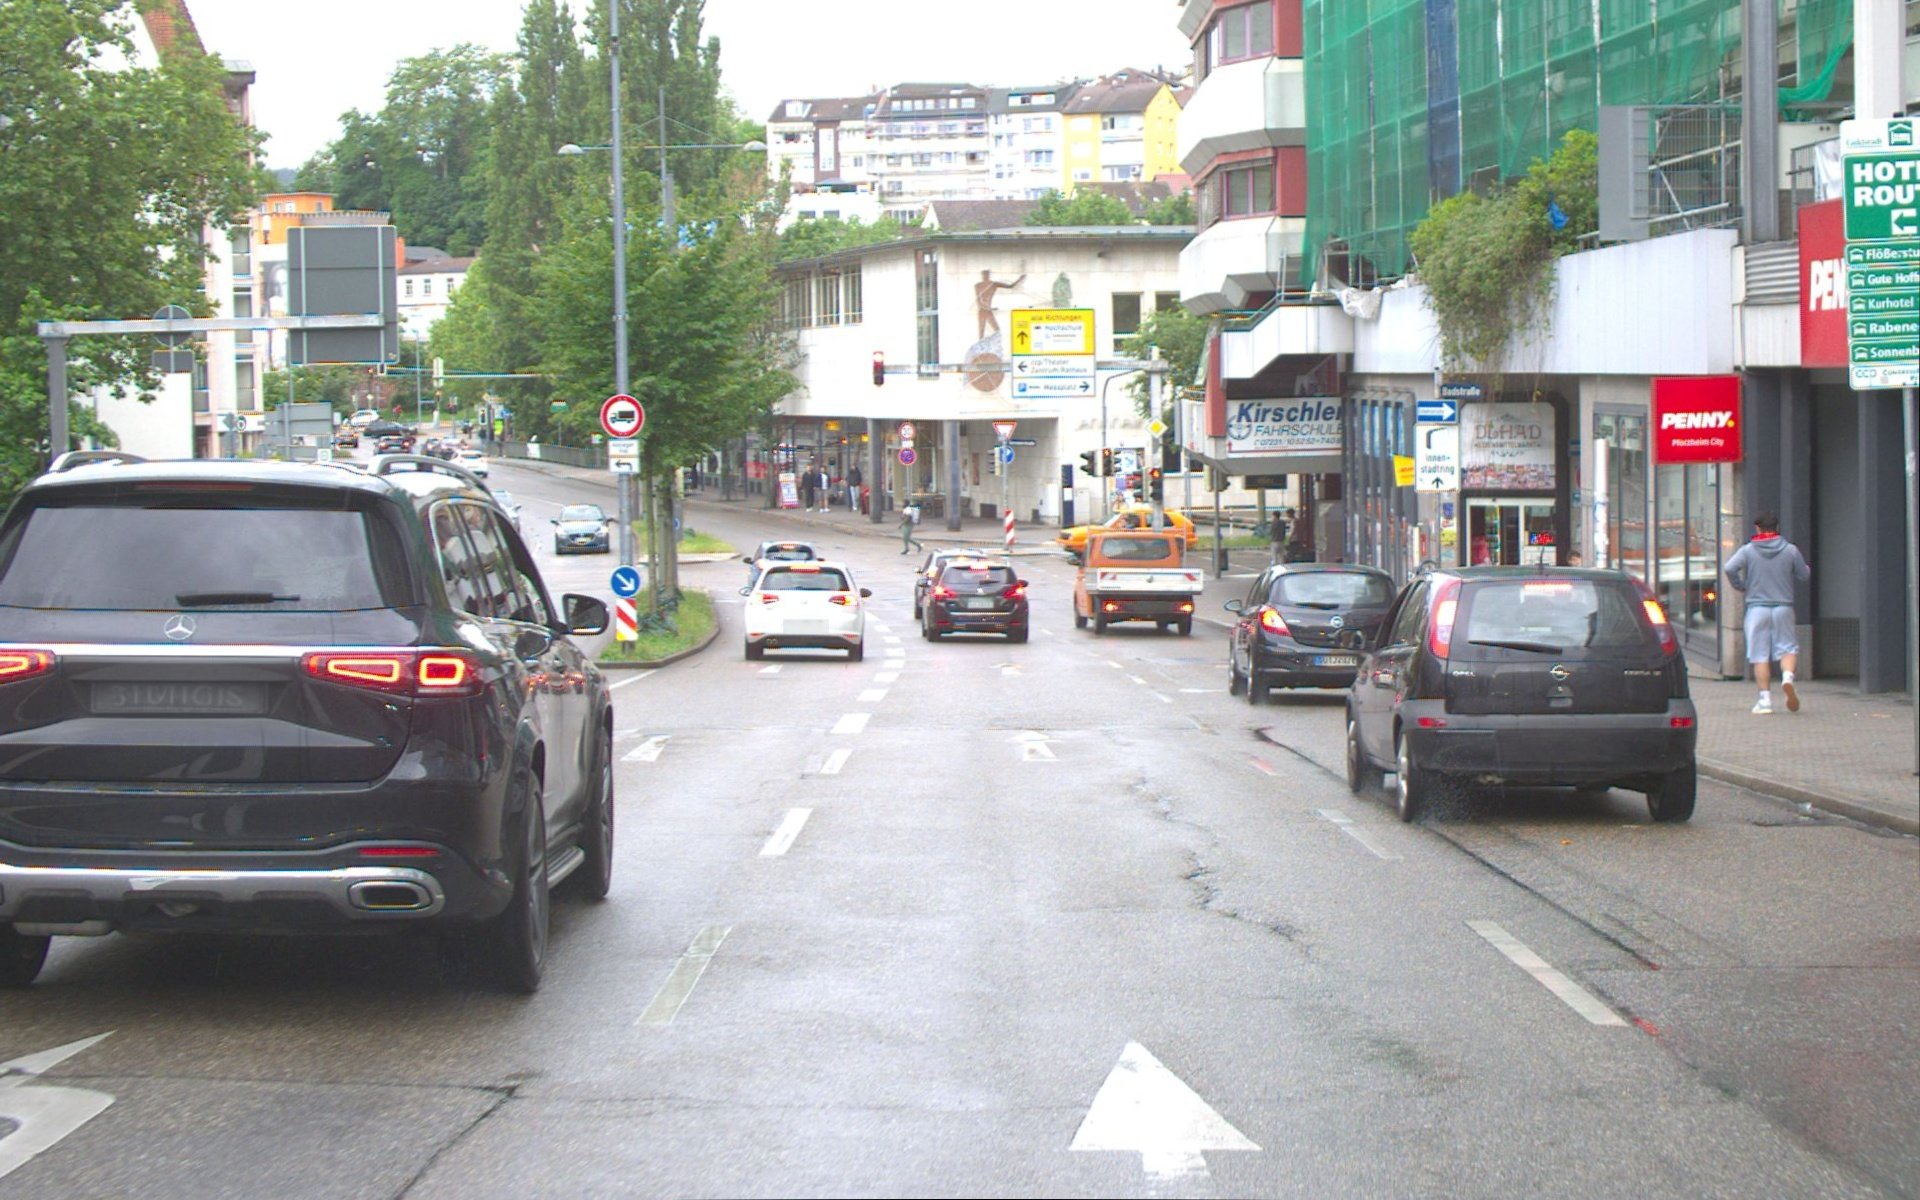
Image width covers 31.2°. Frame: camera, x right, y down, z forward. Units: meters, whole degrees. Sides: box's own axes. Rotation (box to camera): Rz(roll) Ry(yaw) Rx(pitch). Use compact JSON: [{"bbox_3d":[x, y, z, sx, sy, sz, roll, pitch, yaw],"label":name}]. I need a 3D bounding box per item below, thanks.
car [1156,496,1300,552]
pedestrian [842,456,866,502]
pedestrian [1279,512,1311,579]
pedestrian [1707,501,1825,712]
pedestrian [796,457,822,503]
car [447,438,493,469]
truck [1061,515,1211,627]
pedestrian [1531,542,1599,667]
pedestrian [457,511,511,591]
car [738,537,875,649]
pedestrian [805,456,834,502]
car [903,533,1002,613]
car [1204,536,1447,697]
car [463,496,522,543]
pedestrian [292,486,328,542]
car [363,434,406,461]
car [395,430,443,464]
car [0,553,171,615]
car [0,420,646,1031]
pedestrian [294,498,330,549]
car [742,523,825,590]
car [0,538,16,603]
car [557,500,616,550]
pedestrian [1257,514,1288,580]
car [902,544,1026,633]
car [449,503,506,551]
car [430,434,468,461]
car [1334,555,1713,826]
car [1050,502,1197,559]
[{"bbox_3d":[7.875,-2.219,101.026,3.815,1.611,1.775,-1,1,-17],"label":"car"},{"bbox_3d":[-4.209,-4.820,136.780,0.702,1.796,0.939,-2,1,-16],"label":"pedestrian"},{"bbox_3d":[8.627,-1.402,88.435,0.575,1.694,0.651,-2,1,-15],"label":"pedestrian"},{"bbox_3d":[6.713,0.046,28.671,0.836,1.716,0.829,-2,1,7],"label":"pedestrian"},{"bbox_3d":[-6.041,-4.815,137.571,0.798,1.796,0.918,-2,1,-16],"label":"pedestrian"},{"bbox_3d":[-26.069,-7.777,182.875,1.993,1.590,4.001,-1,1,-14],"label":"car"},{"bbox_3d":[3.364,-0.602,66.768,2.183,2.075,5.604,-1,1,-4],"label":"truck"},{"bbox_3d":[8.104,0.058,46.065,0.642,1.644,0.561,-2,0,41],"label":"pedestrian"},{"bbox_3d":[-11.366,-1.182,82.090,1.063,1.875,0.838,-2,1,5],"label":"pedestrian"},{"bbox_3d":[-2.259,-0.137,51.424,1.950,1.568,4.001,0,1,-1],"label":"car"},{"bbox_3d":[-5.566,-4.804,136.332,0.846,1.796,1.056,-2,1,-16],"label":"pedestrian"},{"bbox_3d":[-0.187,-0.583,71.169,1.760,1.537,4.001,0,2,-4],"label":"car"},{"bbox_3d":[3.804,0.127,36.372,1.949,1.568,4.001,0,1,-3],"label":"car"},{"bbox_3d":[-15.761,-2.701,115.744,1.777,1.544,4.001,-1,1,-10],"label":"car"},{"bbox_3d":[-21.297,-2.824,112.619,0.903,1.796,0.627,-3,1,-42],"label":"pedestrian"},{"bbox_3d":[-35.184,-9.299,210.214,1.748,1.549,3.570,-1,1,-24],"label":"car"},{"bbox_3d":[-33.784,-9.550,214.687,1.993,2.007,4.001,-1,1,-24],"label":"car"},{"bbox_3d":[-22.234,-0.407,86.522,4.589,1.477,1.943,1,1,-13],"label":"car"},{"bbox_3d":[-2.421,0.322,12.801,2.087,1.811,4.793,1,1,-1],"label":"car"},{"bbox_3d":[-20.943,-2.468,111.086,0.923,1.602,0.563,-3,1,-42],"label":"pedestrian"},{"bbox_3d":[-4.075,-1.010,78.914,1.794,1.463,4.001,0,2,-4],"label":"car"},{"bbox_3d":[-26.674,-0.787,88.250,4.681,1.638,1.787,1,1,-16],"label":"car"},{"bbox_3d":[-11.839,-2.393,109.149,1.820,1.544,4.001,-1,1,-6],"label":"car"},{"bbox_3d":[8.019,-1.362,88.313,0.575,1.694,0.651,-2,1,-11],"label":"pedestrian"},{"bbox_3d":[0.040,-0.230,61.502,1.811,1.436,4.001,1,2,-5],"label":"car"},{"bbox_3d":[-15.193,-2.295,108.111,1.706,1.446,3.862,-1,1,-9],"label":"car"},{"bbox_3d":[-30.894,-9.203,207.783,1.831,1.583,3.875,-1,1,-16],"label":"car"},{"bbox_3d":[3.216,0.462,20.253,1.717,1.415,3.770,-1,1,2],"label":"car"},{"bbox_3d":[4.771,-2.027,100.408,3.995,1.611,1.775,-1,1,-9],"label":"car"}]
